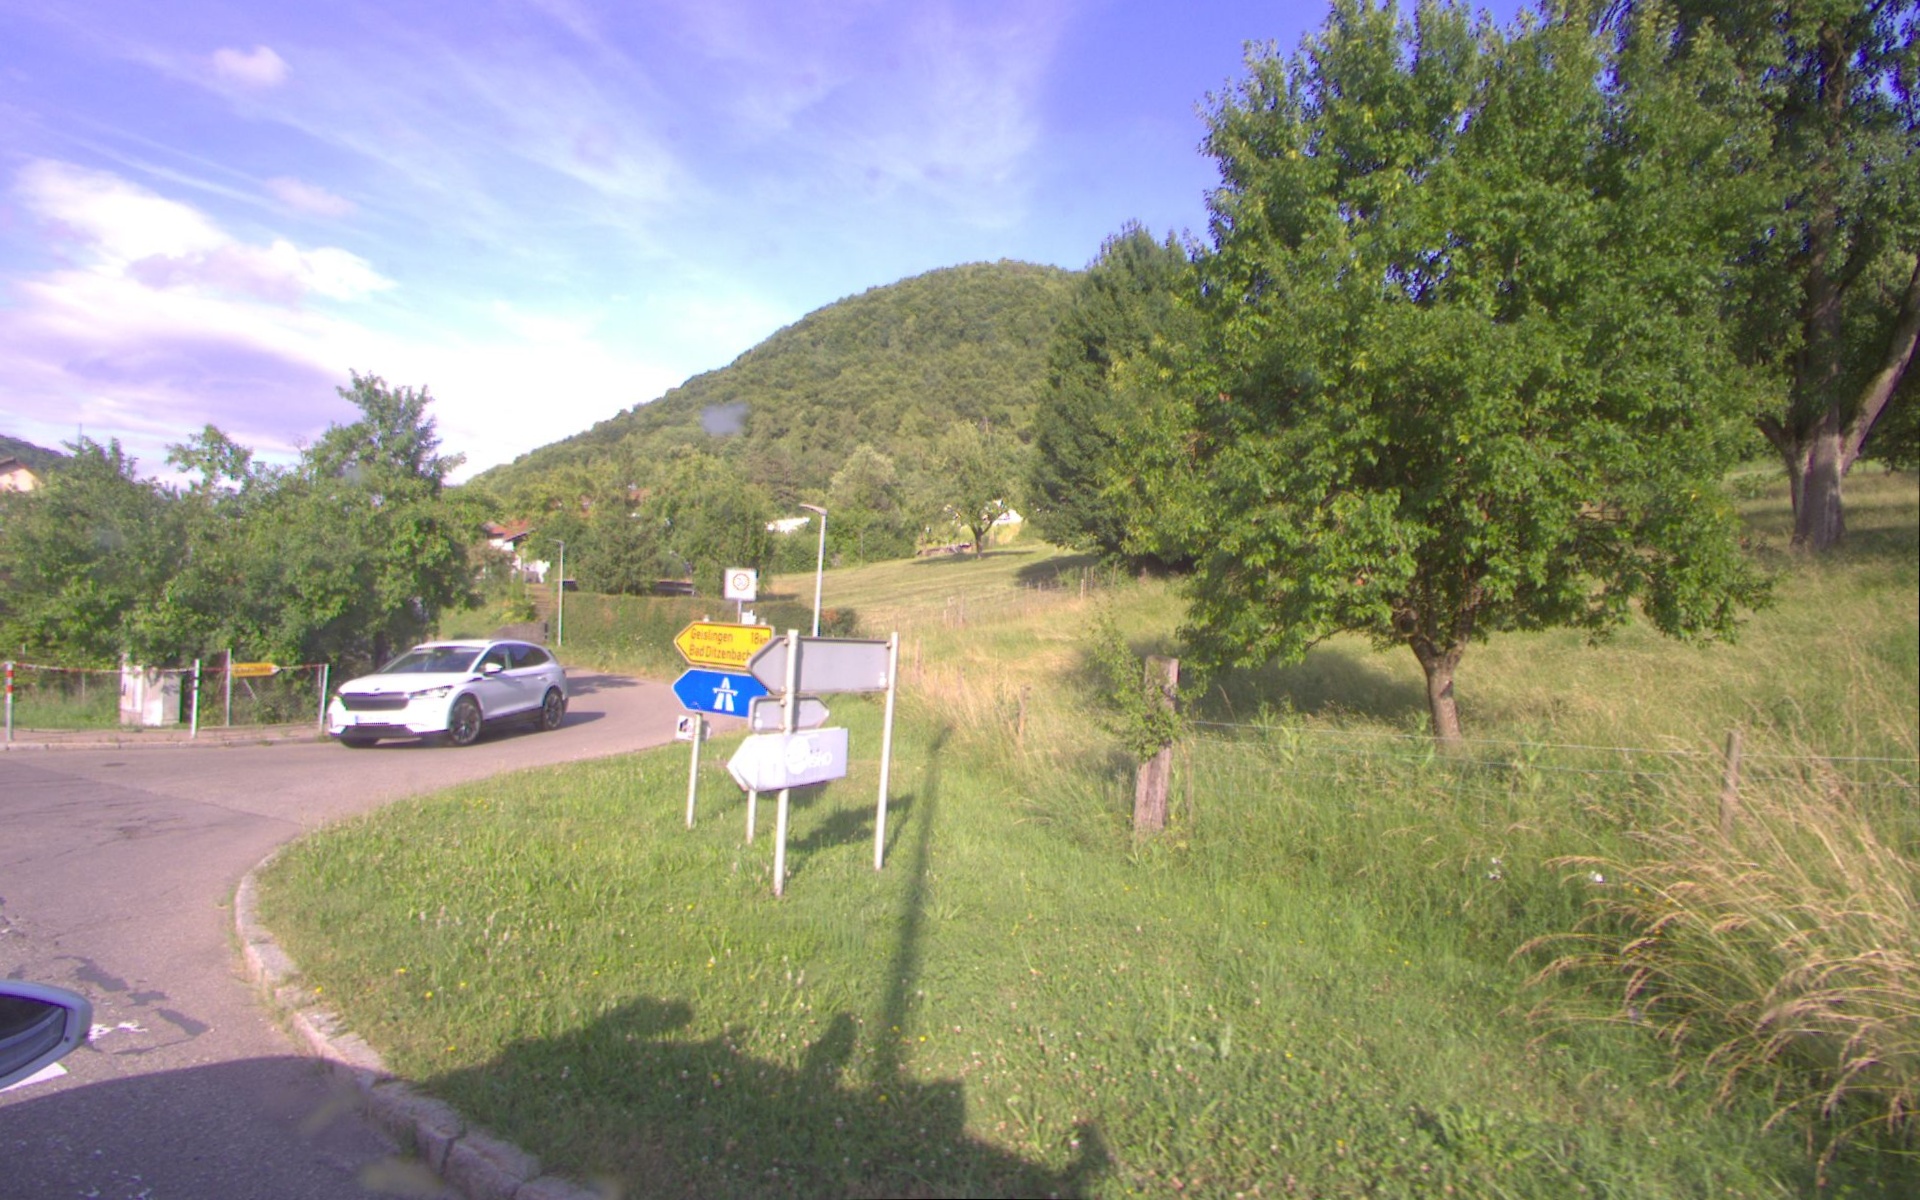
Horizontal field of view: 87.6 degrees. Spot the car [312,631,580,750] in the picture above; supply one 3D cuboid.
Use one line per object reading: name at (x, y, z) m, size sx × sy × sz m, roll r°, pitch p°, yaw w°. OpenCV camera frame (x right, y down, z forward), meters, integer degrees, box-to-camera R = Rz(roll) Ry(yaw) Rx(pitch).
car at (-8.076, 1.401, 16.329) m, size 1.837 × 1.630 × 4.576 m, roll 1°, pitch -3°, yaw 2°
